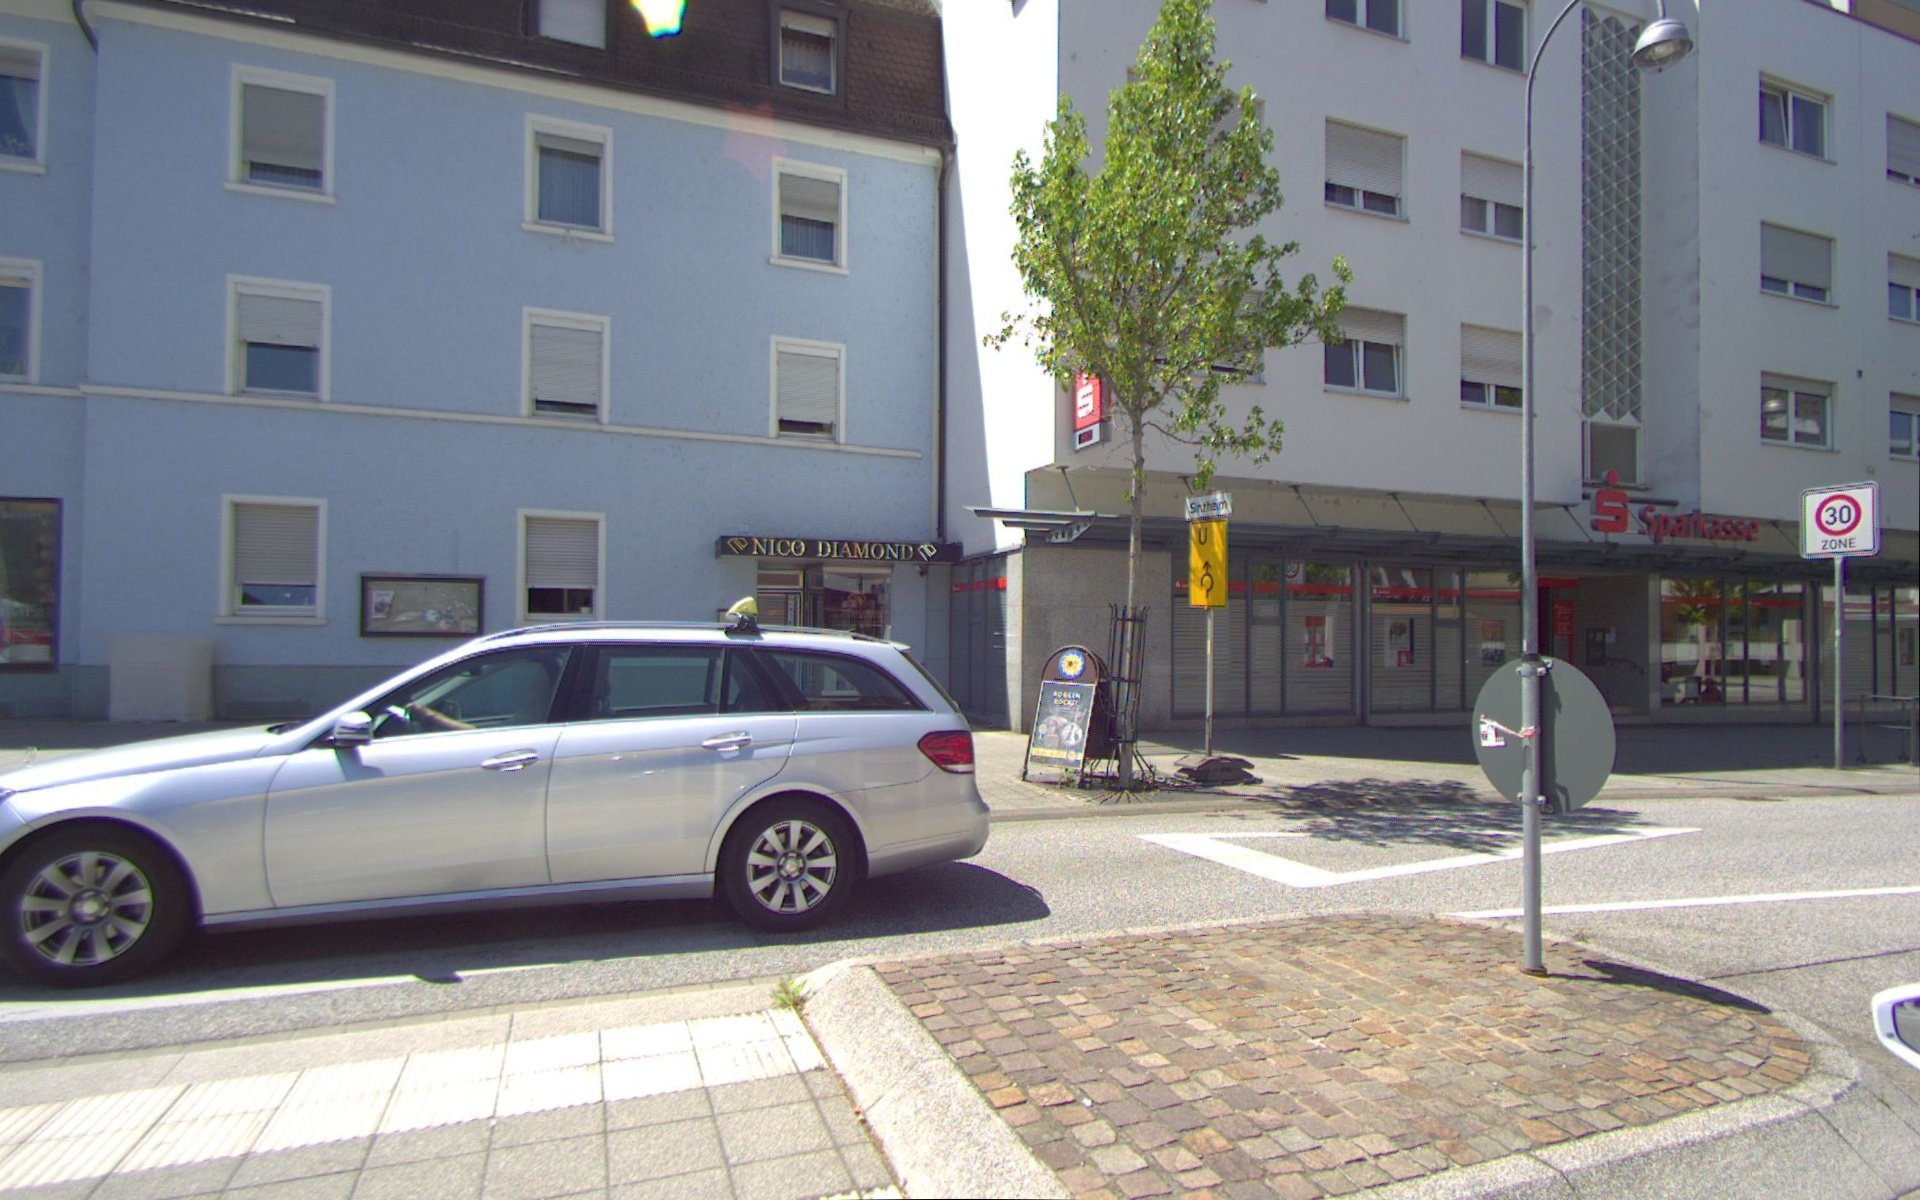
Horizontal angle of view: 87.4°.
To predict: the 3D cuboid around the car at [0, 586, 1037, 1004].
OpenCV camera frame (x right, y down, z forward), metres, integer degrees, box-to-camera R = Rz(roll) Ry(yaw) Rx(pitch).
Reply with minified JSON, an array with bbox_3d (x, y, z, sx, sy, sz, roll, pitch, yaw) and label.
[{"bbox_3d":[-2.233,0.841,5.427,4.919,1.613,1.993,1,-3,-17],"label":"car"}]
